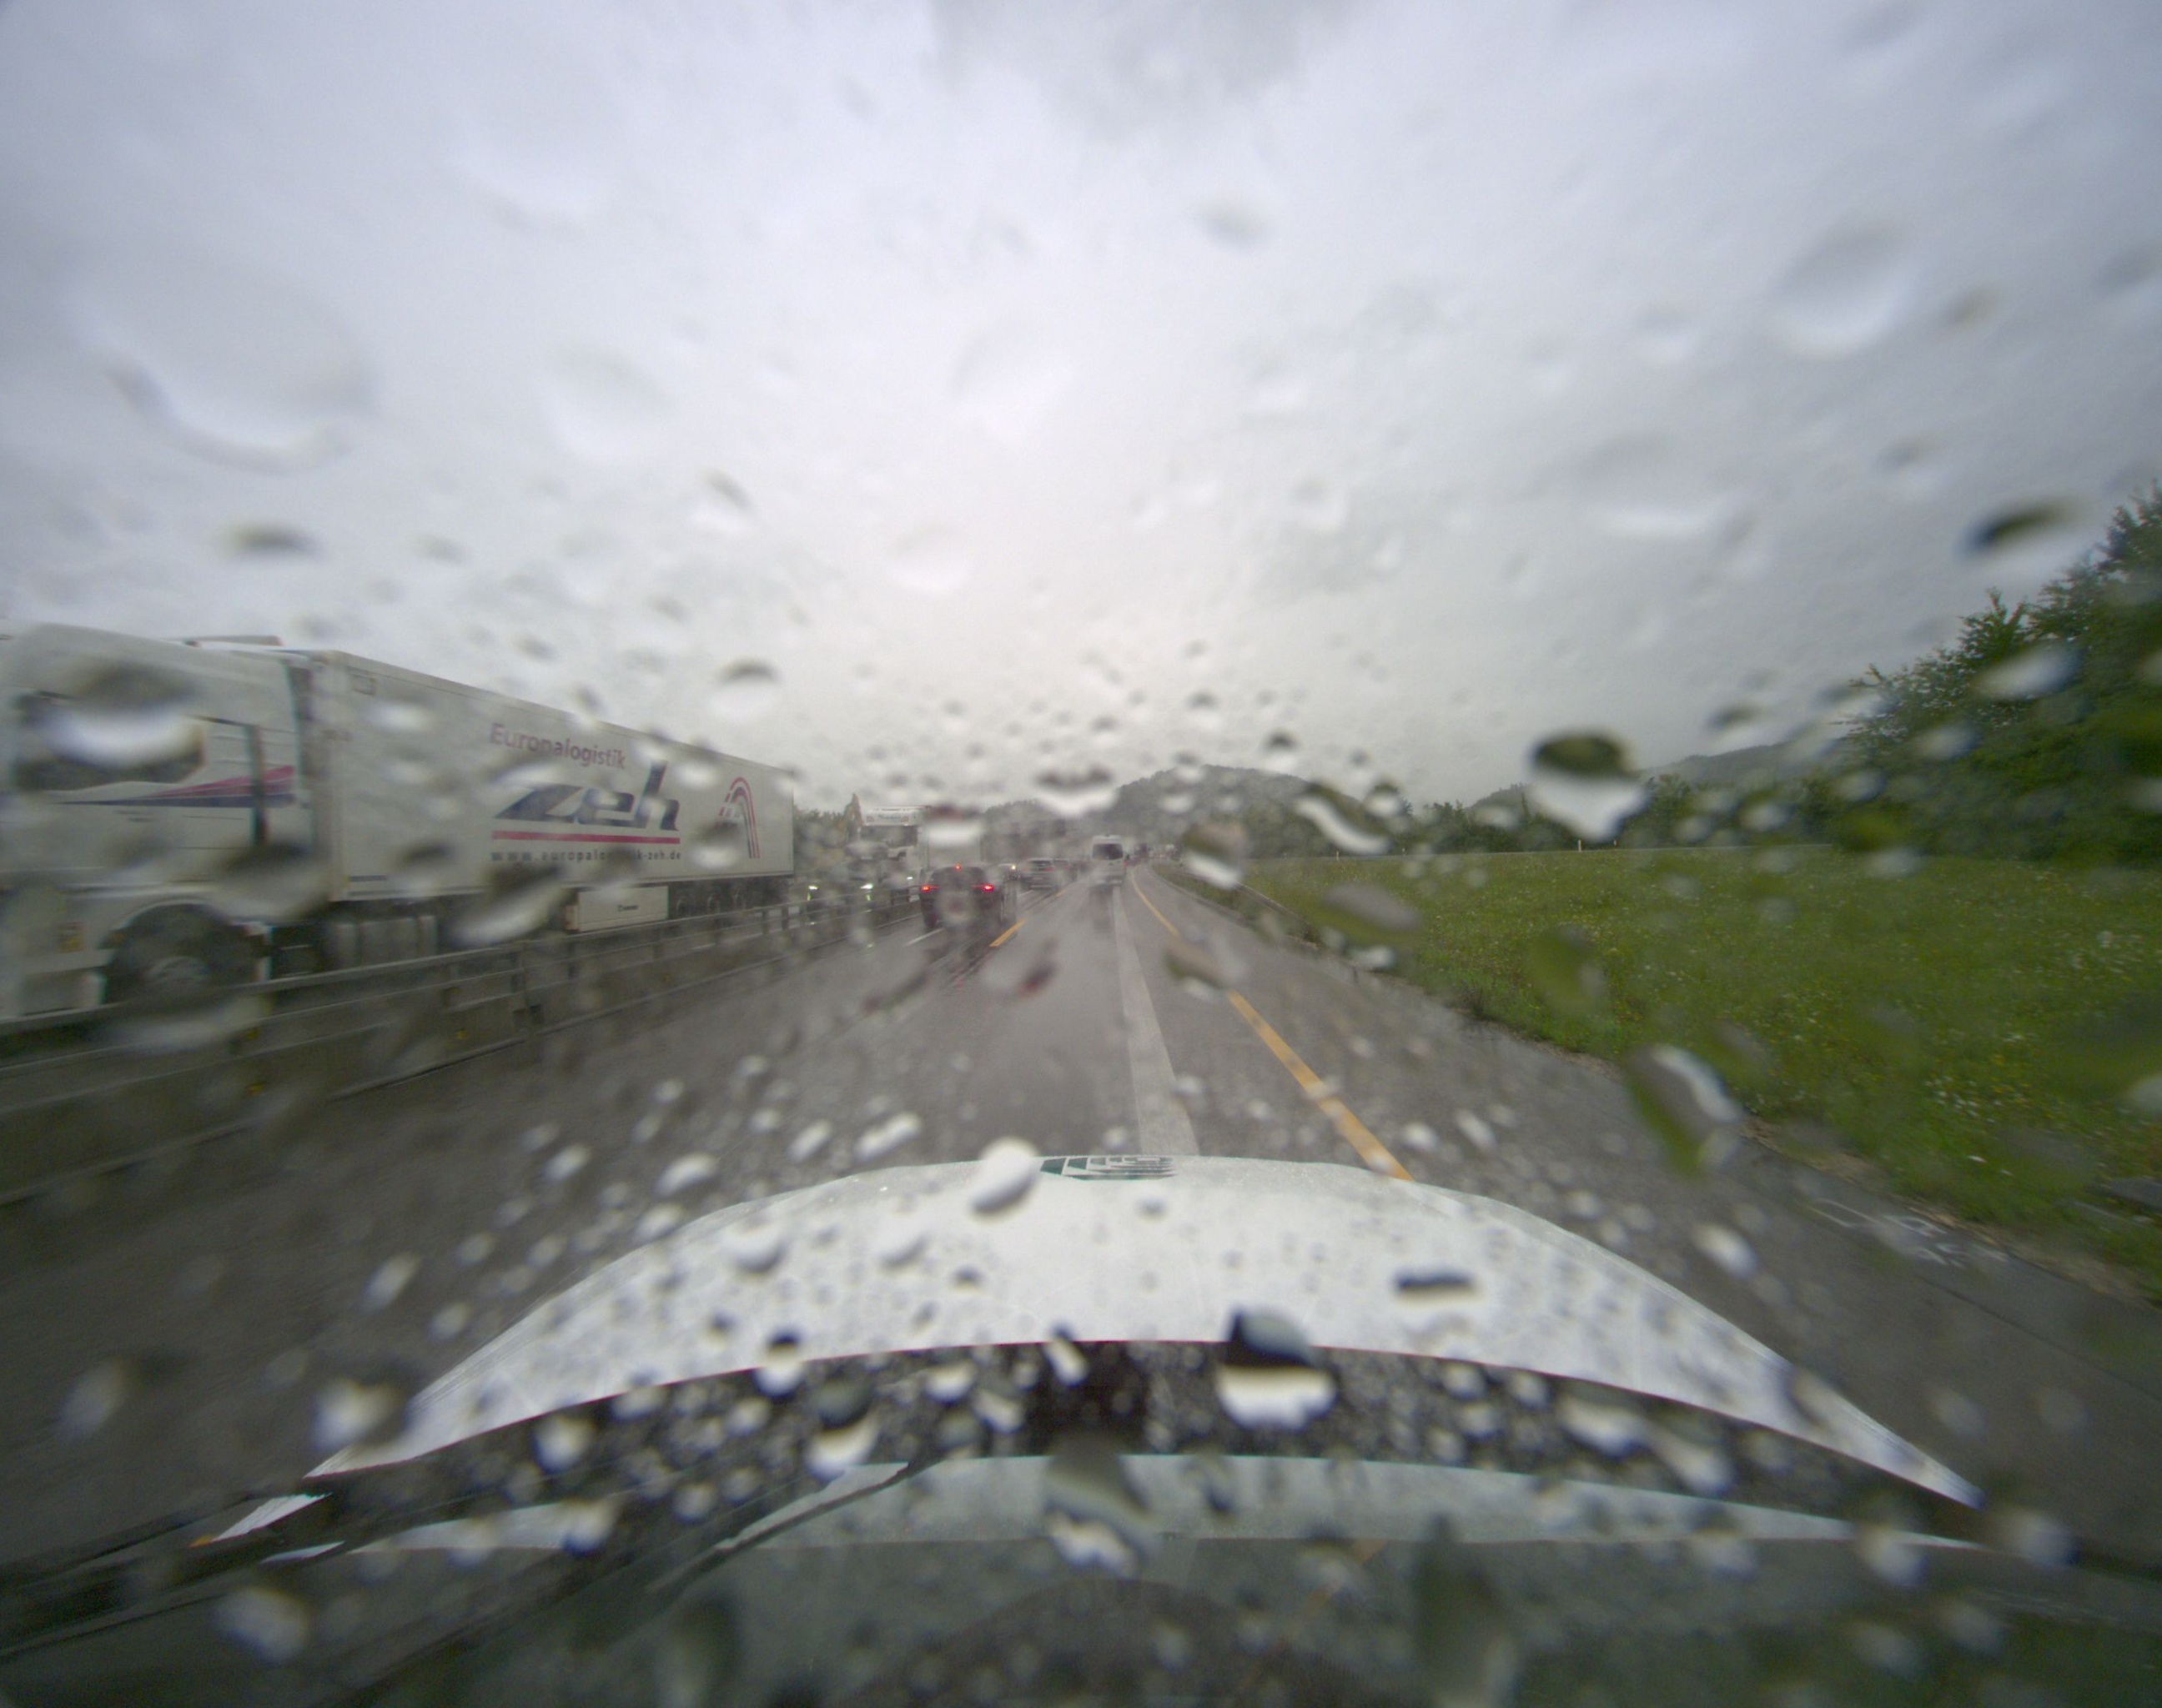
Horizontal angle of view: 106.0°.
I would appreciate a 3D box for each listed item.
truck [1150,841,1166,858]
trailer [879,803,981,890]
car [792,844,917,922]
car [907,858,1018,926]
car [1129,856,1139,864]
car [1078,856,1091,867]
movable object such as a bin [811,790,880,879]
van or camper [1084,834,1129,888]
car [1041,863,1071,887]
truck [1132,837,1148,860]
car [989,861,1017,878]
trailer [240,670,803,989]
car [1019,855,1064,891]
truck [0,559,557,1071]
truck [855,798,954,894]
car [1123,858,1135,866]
[{"bbox_3d":[22.555,-1.391,236.857,3.905,4.785,9.933,0,-1,10],"label":"truck"},{"bbox_3d":[-8.028,-0.403,45.383,2.896,4.089,12.226,-2,0,2],"label":"trailer"},{"bbox_3d":[-6.058,0.708,22.360,1.986,1.884,4.435,-2,0,2],"label":"car"},{"bbox_3d":[-2.729,0.829,19.835,1.932,1.427,4.760,0,0,1],"label":"car"},{"bbox_3d":[8.554,1.028,131.282,1.379,1.256,3.123,-1,0,1],"label":"car"},{"bbox_3d":[0.371,0.742,82.957,1.258,1.078,3.254,-1,0,1],"label":"car"},{"bbox_3d":[-22.580,-1.767,78.664,3.579,8.144,8.319,0,-1,5],"label":"movable object such as a bin"},{"bbox_3d":[1.328,0.358,43.804,2.133,2.721,4.645,-1,0,-1],"label":"van or camper"},{"bbox_3d":[-1.656,1.387,55.465,1.846,1.500,4.000,-1,0,0],"label":"car"},{"bbox_3d":[12.518,-1.142,171.960,3.304,4.785,9.920,0,-1,5],"label":"truck"},{"bbox_3d":[-7.150,1.406,75.082,1.986,1.505,4.298,-1,-1,2],"label":"car"},{"bbox_3d":[-9.384,-0.359,16.819,2.485,4.049,12.592,-2,0,2],"label":"trailer"},{"bbox_3d":[-1.894,0.914,40.251,1.860,1.659,3.990,-1,0,2],"label":"car"},{"bbox_3d":[-9.611,-0.308,9.539,2.474,4.031,6.452,-2,0,2],"label":"truck"},{"bbox_3d":[-8.276,-0.368,39.122,2.872,4.101,6.930,-1,0,2],"label":"truck"},{"bbox_3d":[6.482,1.090,110.411,1.380,1.078,3.120,-1,0,-1],"label":"car"}]
